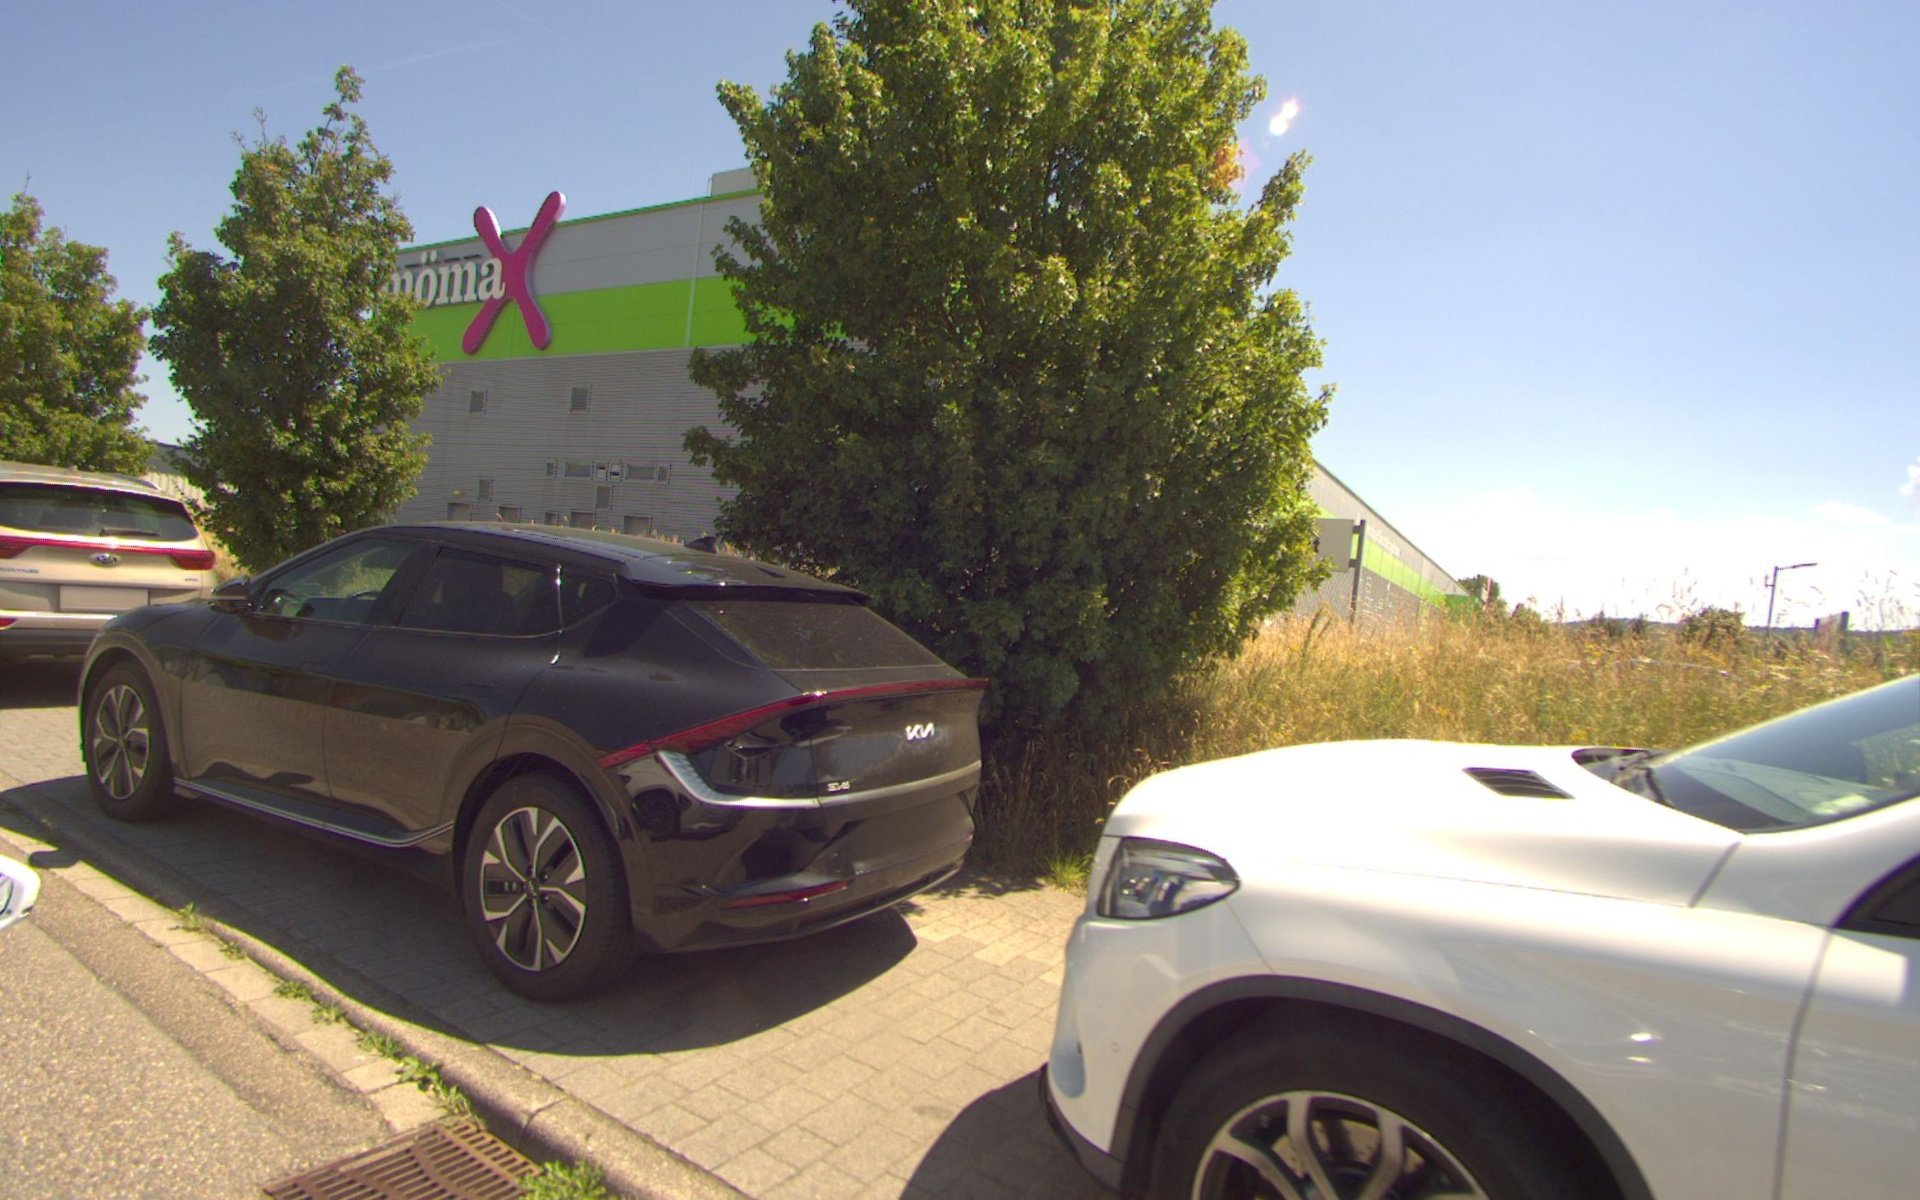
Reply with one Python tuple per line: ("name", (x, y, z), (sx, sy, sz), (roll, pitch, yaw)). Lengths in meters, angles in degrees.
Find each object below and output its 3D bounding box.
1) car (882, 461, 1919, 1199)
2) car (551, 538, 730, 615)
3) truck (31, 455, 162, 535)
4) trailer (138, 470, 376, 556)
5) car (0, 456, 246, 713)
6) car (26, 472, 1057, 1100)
("car", (2.437, 0.821, 1.873), (4.706, 1.721, 2.144), (7, 2, 32))
("car", (-8.299, -0.613, 26.050), (4.328, 1.518, 1.995), (6, 1, 32))
("truck", (-50.709, -6.118, 59.168), (2.758, 3.923, 5.066), (5, 0, 32))
("trailer", (-46.042, -5.558, 66.649), (2.758, 3.923, 12.629), (5, -1, 32))
("car", (-7.774, -0.290, 8.017), (4.384, 1.657, 1.805), (7, 2, 32))
("car", (-2.083, 0.403, 4.656), (4.550, 1.549, 1.905), (7, 2, 28))
